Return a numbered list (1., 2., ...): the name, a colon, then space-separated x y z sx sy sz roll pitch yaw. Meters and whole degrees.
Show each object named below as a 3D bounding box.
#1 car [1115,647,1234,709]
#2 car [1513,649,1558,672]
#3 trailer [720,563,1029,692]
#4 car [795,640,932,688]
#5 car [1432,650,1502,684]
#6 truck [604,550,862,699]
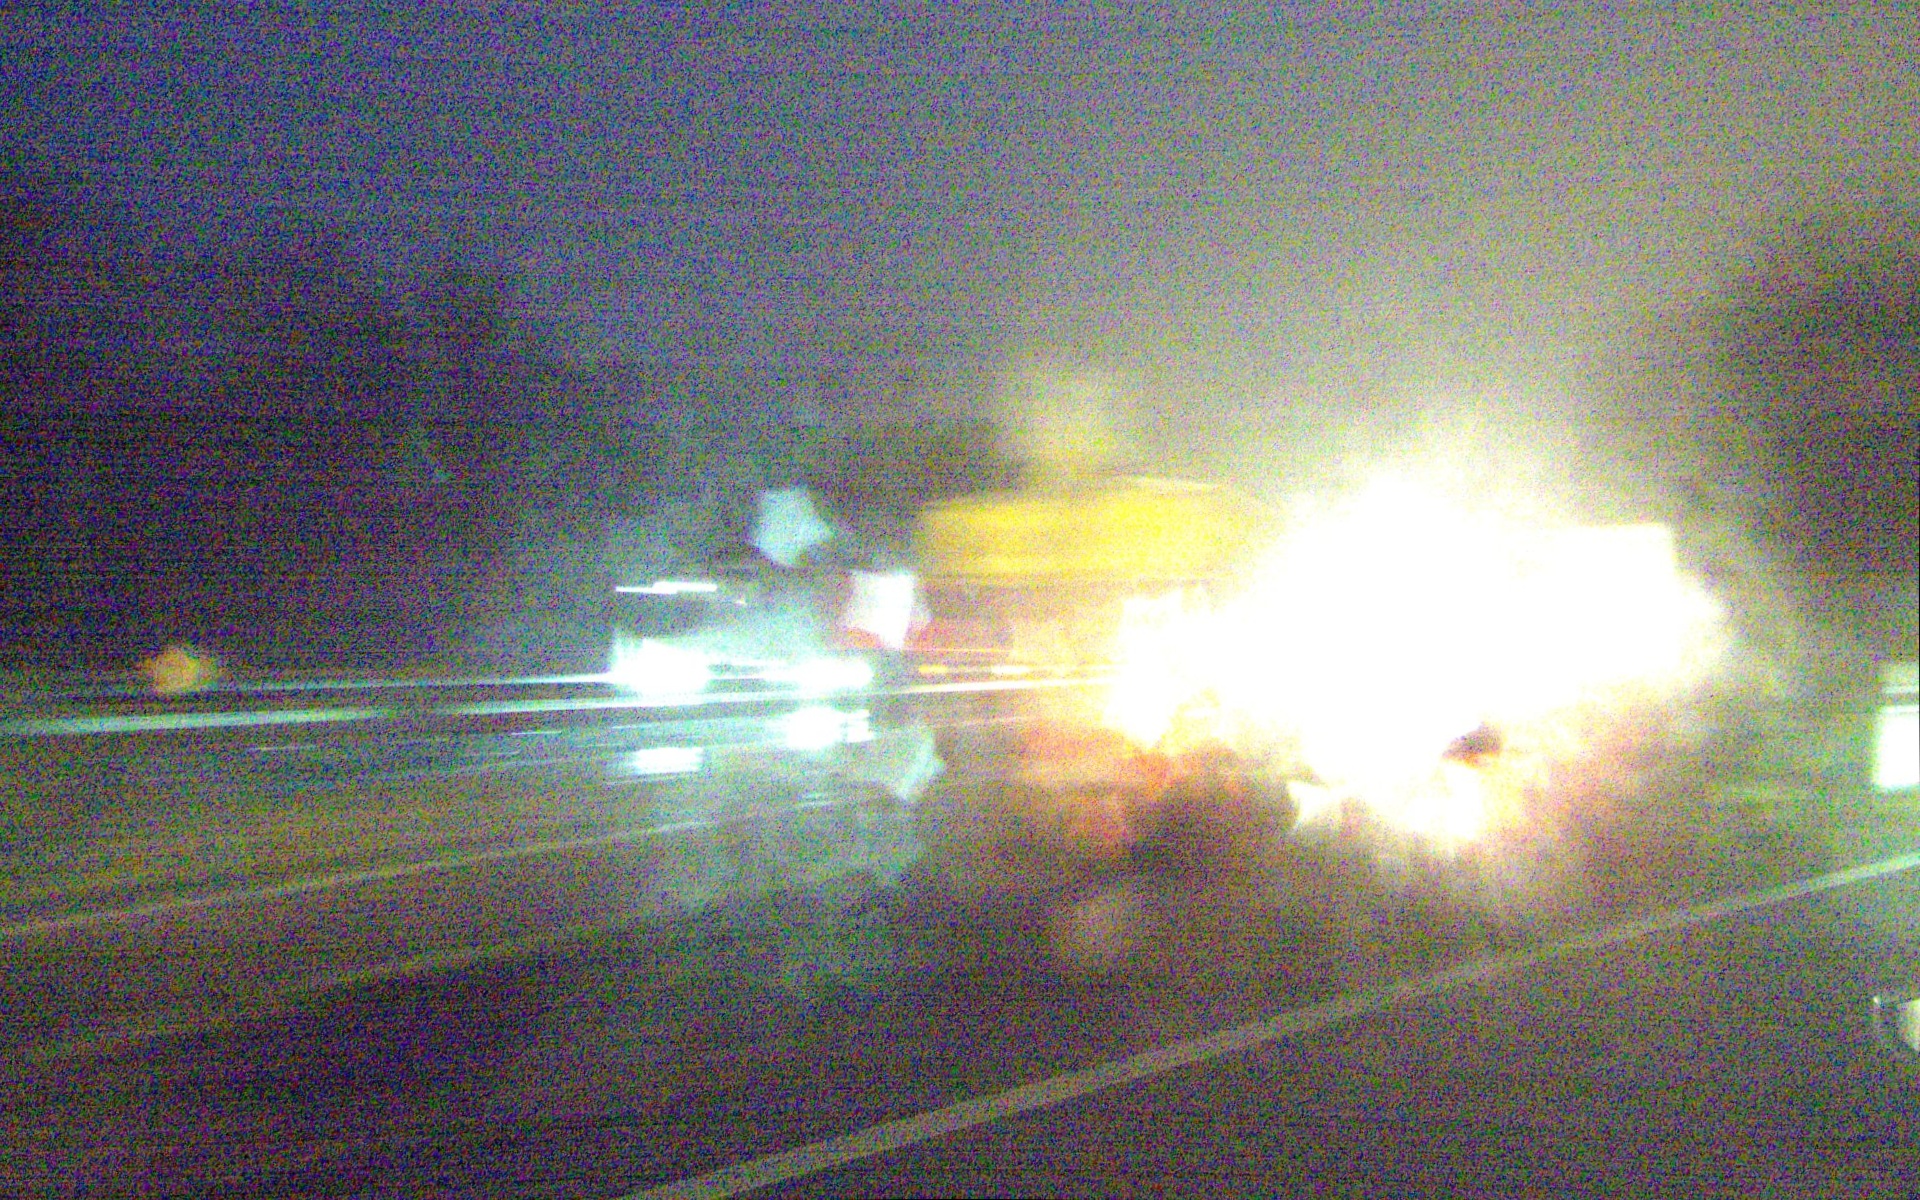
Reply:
1. car: 6.039 2.161 28.087 1.631 1.595 3.831 -4 -5 40
2. car: 39.160 4.102 68.250 1.748 1.536 4.891 -2 -4 41
3. trailer: -2.463 1.174 36.970 3.396 3.928 13.318 -1 -3 36
4. car: -2.749 1.830 29.239 1.619 1.295 3.997 -2 -3 40
5. car: 22.513 2.970 44.529 1.939 1.398 4.032 -1 -4 39
6. truck: -6.775 0.839 31.119 3.356 4.025 7.431 -2 -3 37
